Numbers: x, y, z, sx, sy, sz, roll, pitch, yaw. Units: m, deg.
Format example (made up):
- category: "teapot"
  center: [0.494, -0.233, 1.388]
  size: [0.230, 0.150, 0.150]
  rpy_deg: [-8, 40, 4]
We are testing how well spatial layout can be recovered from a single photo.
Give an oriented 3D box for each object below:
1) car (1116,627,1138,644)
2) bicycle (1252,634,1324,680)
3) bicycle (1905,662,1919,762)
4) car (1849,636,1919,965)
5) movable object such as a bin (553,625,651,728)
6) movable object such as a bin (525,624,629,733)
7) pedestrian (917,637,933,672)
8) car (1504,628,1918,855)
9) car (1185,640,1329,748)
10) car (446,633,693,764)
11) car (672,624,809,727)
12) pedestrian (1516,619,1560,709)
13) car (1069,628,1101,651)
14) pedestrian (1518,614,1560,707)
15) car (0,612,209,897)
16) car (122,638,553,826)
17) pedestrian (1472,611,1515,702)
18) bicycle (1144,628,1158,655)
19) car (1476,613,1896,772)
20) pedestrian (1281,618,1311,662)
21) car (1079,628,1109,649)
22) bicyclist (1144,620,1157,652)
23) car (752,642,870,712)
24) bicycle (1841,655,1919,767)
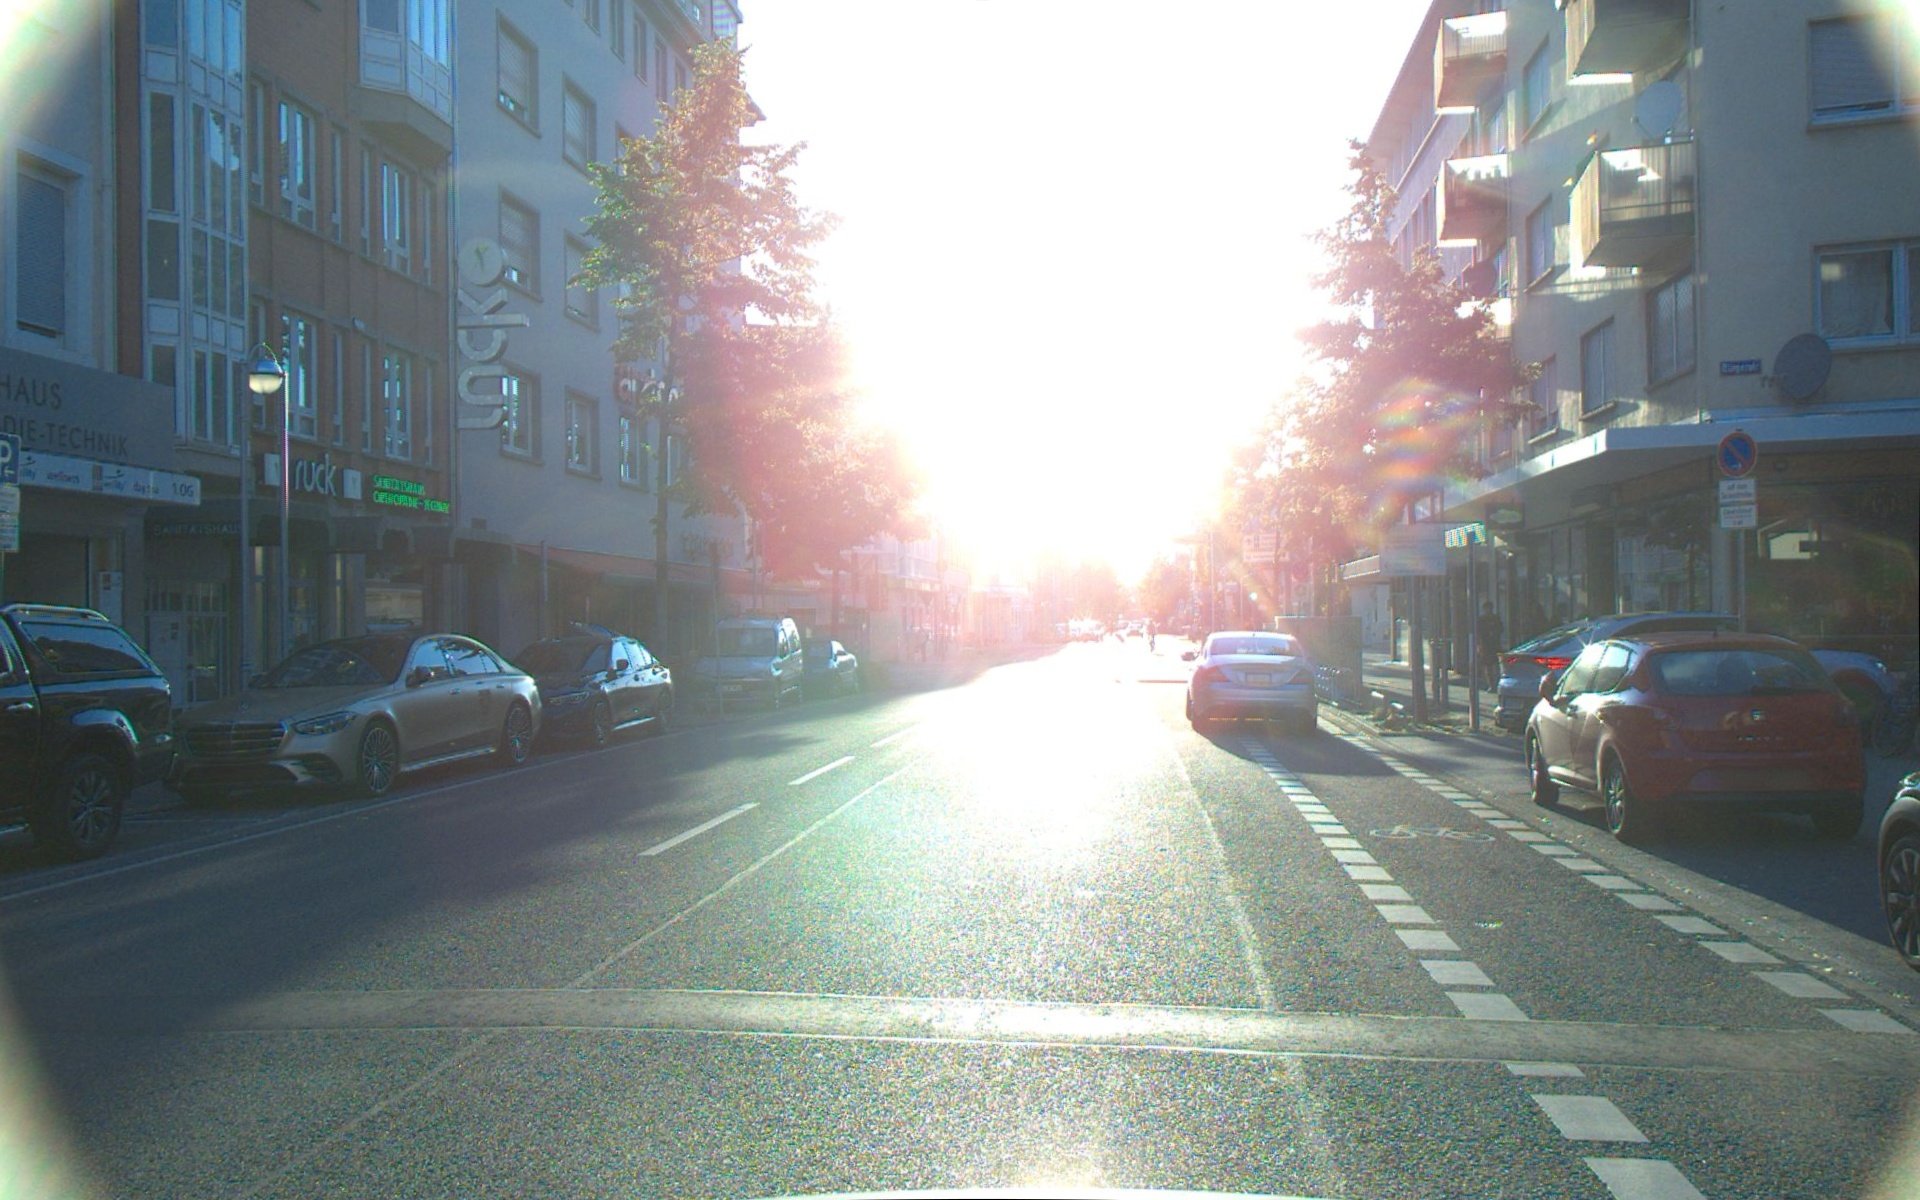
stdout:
- category: "car"
  center: [17.734, 3.752, 175.403]
  size: [2.255, 1.708, 5.536]
  rpy_deg: [-1, -1, 7]
- category: "bicycle"
  center: [8.946, 1.544, 45.162]
  size: [1.872, 1.225, 0.470]
  rpy_deg: [-1, -1, 8]
- category: "bicycle"
  center: [10.312, 1.179, 16.847]
  size: [0.382, 1.051, 1.845]
  rpy_deg: [-1, -1, 3]
- category: "car"
  center: [4.958, 0.853, 5.991]
  size: [1.686, 1.446, 3.751]
  rpy_deg: [-2, -1, 5]
- category: "movable object such as a bin"
  center: [-6.258, 1.311, 28.989]
  size: [1.254, 1.702, 1.441]
  rpy_deg: [2, -1, 4]
- category: "movable object such as a bin"
  center: [-6.361, 1.285, 27.559]
  size: [1.253, 1.702, 1.370]
  rpy_deg: [2, -1, 4]
- category: "pedestrian"
  center: [-1.590, 2.492, 75.898]
  size: [0.683, 1.575, 0.870]
  rpy_deg: [-1, -1, -1]
- category: "car"
  center: [5.630, 0.976, 12.973]
  size: [1.686, 1.446, 4.034]
  rpy_deg: [-2, -1, 5]
- category: "car"
  center: [4.403, 1.346, 25.066]
  size: [1.762, 1.402, 4.554]
  rpy_deg: [1, -1, 5]
- category: "car"
  center: [-5.227, 1.276, 22.838]
  size: [1.874, 1.537, 4.641]
  rpy_deg: [-2, -1, 6]
- category: "car"
  center: [-4.207, 1.416, 32.299]
  size: [1.875, 1.818, 4.149]
  rpy_deg: [-2, -1, 3]
- category: "pedestrian"
  center: [11.076, 1.209, 31.713]
  size: [0.628, 1.689, 0.778]
  rpy_deg: [1, -1, 6]
- category: "car"
  center: [9.982, 3.147, 131.456]
  size: [2.255, 1.708, 5.536]
  rpy_deg: [-1, -1, 7]
- category: "pedestrian"
  center: [11.492, 1.192, 32.833]
  size: [0.570, 1.814, 0.526]
  rpy_deg: [1, -1, -13]
- category: "car"
  center: [-7.079, 1.007, 10.300]
  size: [1.951, 1.800, 5.302]
  rpy_deg: [-2, -1, 5]
- category: "car"
  center: [-6.052, 1.210, 16.906]
  size: [1.951, 1.537, 5.116]
  rpy_deg: [-2, -1, 7]
- category: "pedestrian"
  center: [10.878, 1.143, 33.734]
  size: [0.693, 1.839, 0.650]
  rpy_deg: [1, -1, 6]
- category: "bicycle"
  center: [10.695, 2.315, 92.653]
  size: [0.664, 1.426, 2.231]
  rpy_deg: [-1, -1, 8]
- category: "car"
  center: [8.436, 1.059, 19.489]
  size: [4.084, 1.640, 1.856]
  rpy_deg: [-2, -2, 0]
- category: "pedestrian"
  center: [13.603, 1.616, 66.897]
  size: [0.790, 1.756, 0.991]
  rpy_deg: [-4, -3, 34]
- category: "car"
  center: [11.298, 3.219, 138.951]
  size: [2.255, 1.708, 5.536]
  rpy_deg: [-1, -1, 7]
- category: "bicyclist"
  center: [10.678, 2.012, 92.633]
  size: [0.664, 1.737, 0.670]
  rpy_deg: [-1, -1, 8]
- category: "car"
  center: [-3.375, 1.745, 38.271]
  size: [1.874, 1.410, 4.384]
  rpy_deg: [-2, -1, 6]
- category: "bicycle"
  center: [9.651, 1.118, 16.908]
  size: [0.382, 1.068, 1.845]
  rpy_deg: [-1, -1, 3]
